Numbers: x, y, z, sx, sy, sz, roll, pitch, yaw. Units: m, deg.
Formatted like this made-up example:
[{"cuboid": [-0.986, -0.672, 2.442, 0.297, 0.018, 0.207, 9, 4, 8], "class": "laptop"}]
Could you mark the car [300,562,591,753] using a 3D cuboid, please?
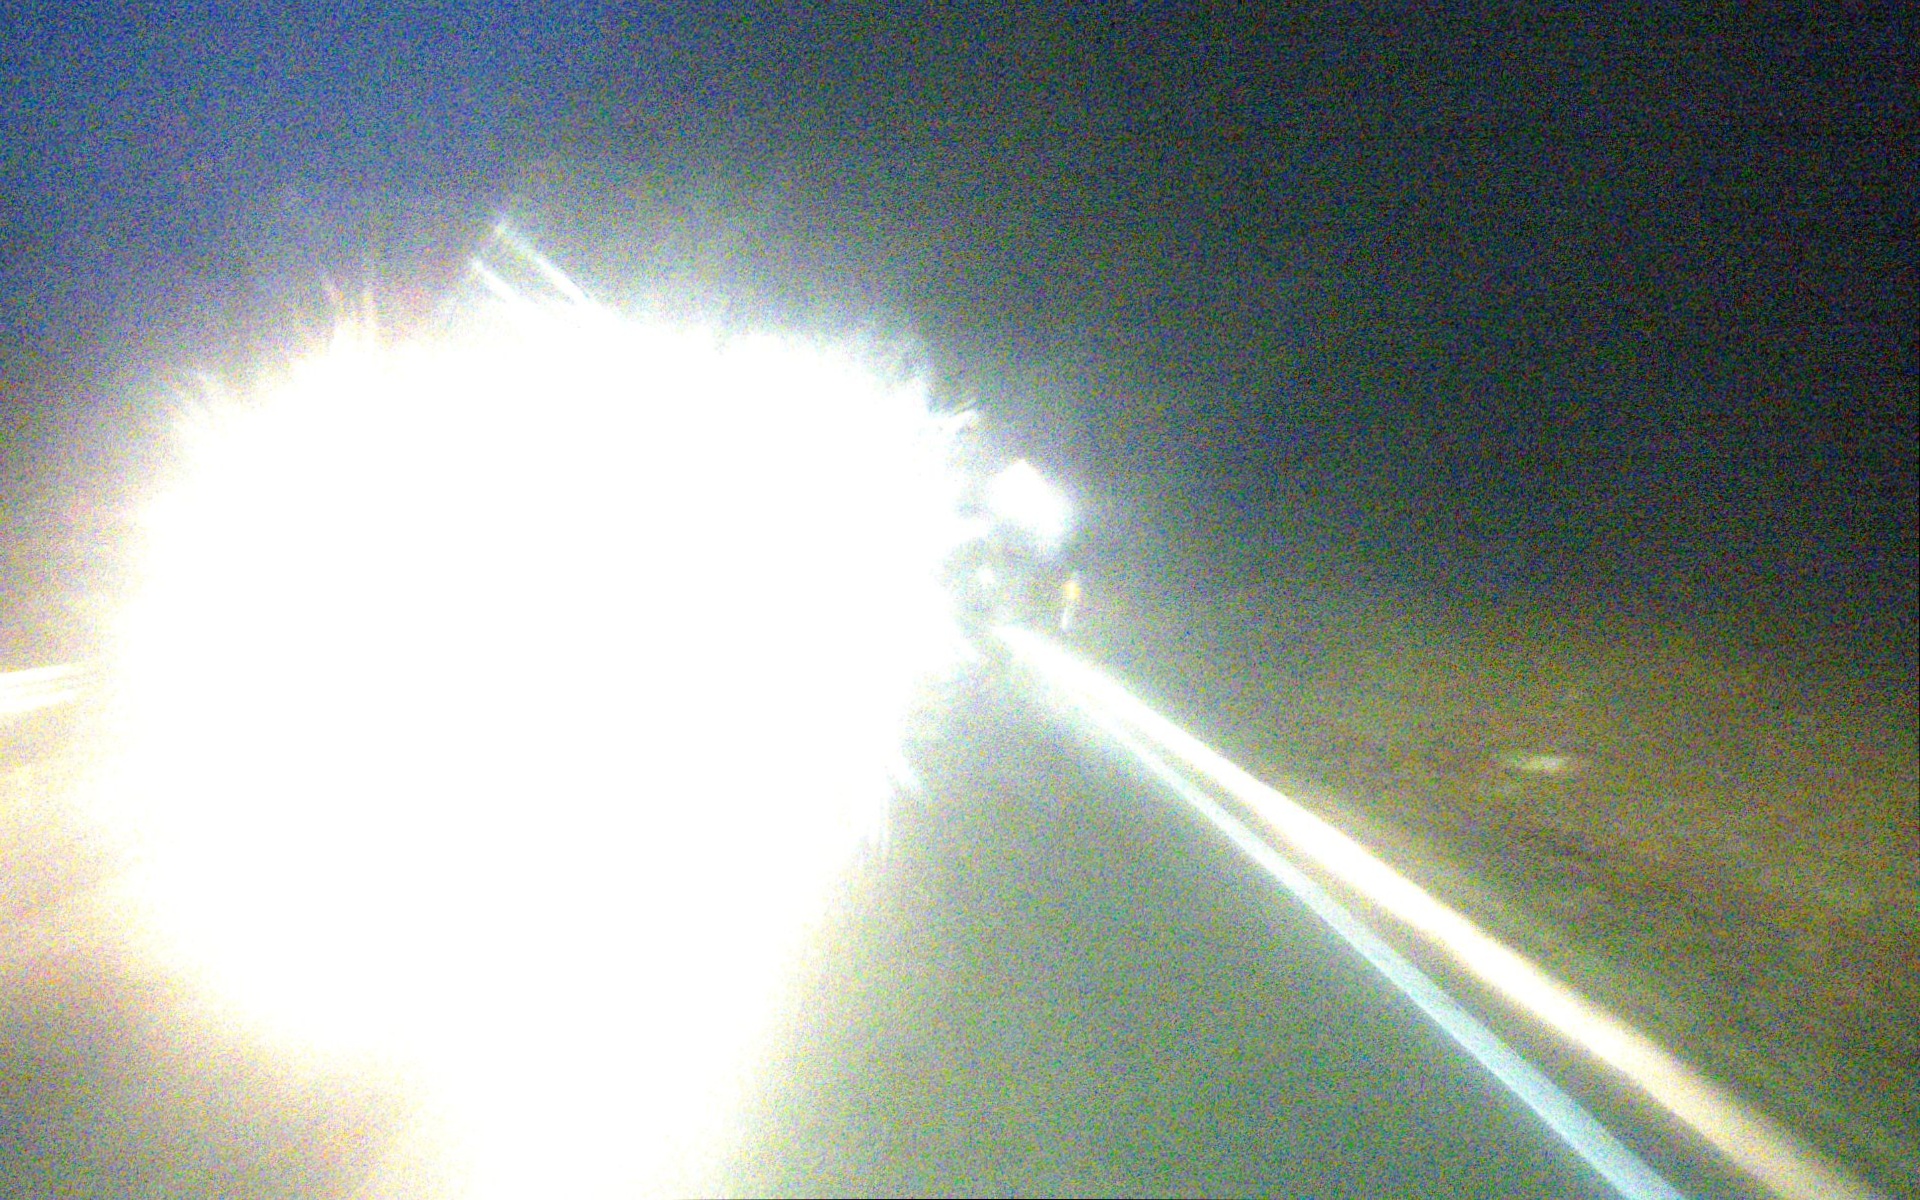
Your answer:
[{"cuboid": [-4.272, 0.431, 29.122, 1.993, 1.452, 4.099, -1, 1, -3], "class": "car"}]

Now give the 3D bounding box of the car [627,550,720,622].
[{"cuboid": [-6.702, -0.334, 80.787, 1.993, 1.607, 4.099, -1, 1, -3], "class": "car"}]
